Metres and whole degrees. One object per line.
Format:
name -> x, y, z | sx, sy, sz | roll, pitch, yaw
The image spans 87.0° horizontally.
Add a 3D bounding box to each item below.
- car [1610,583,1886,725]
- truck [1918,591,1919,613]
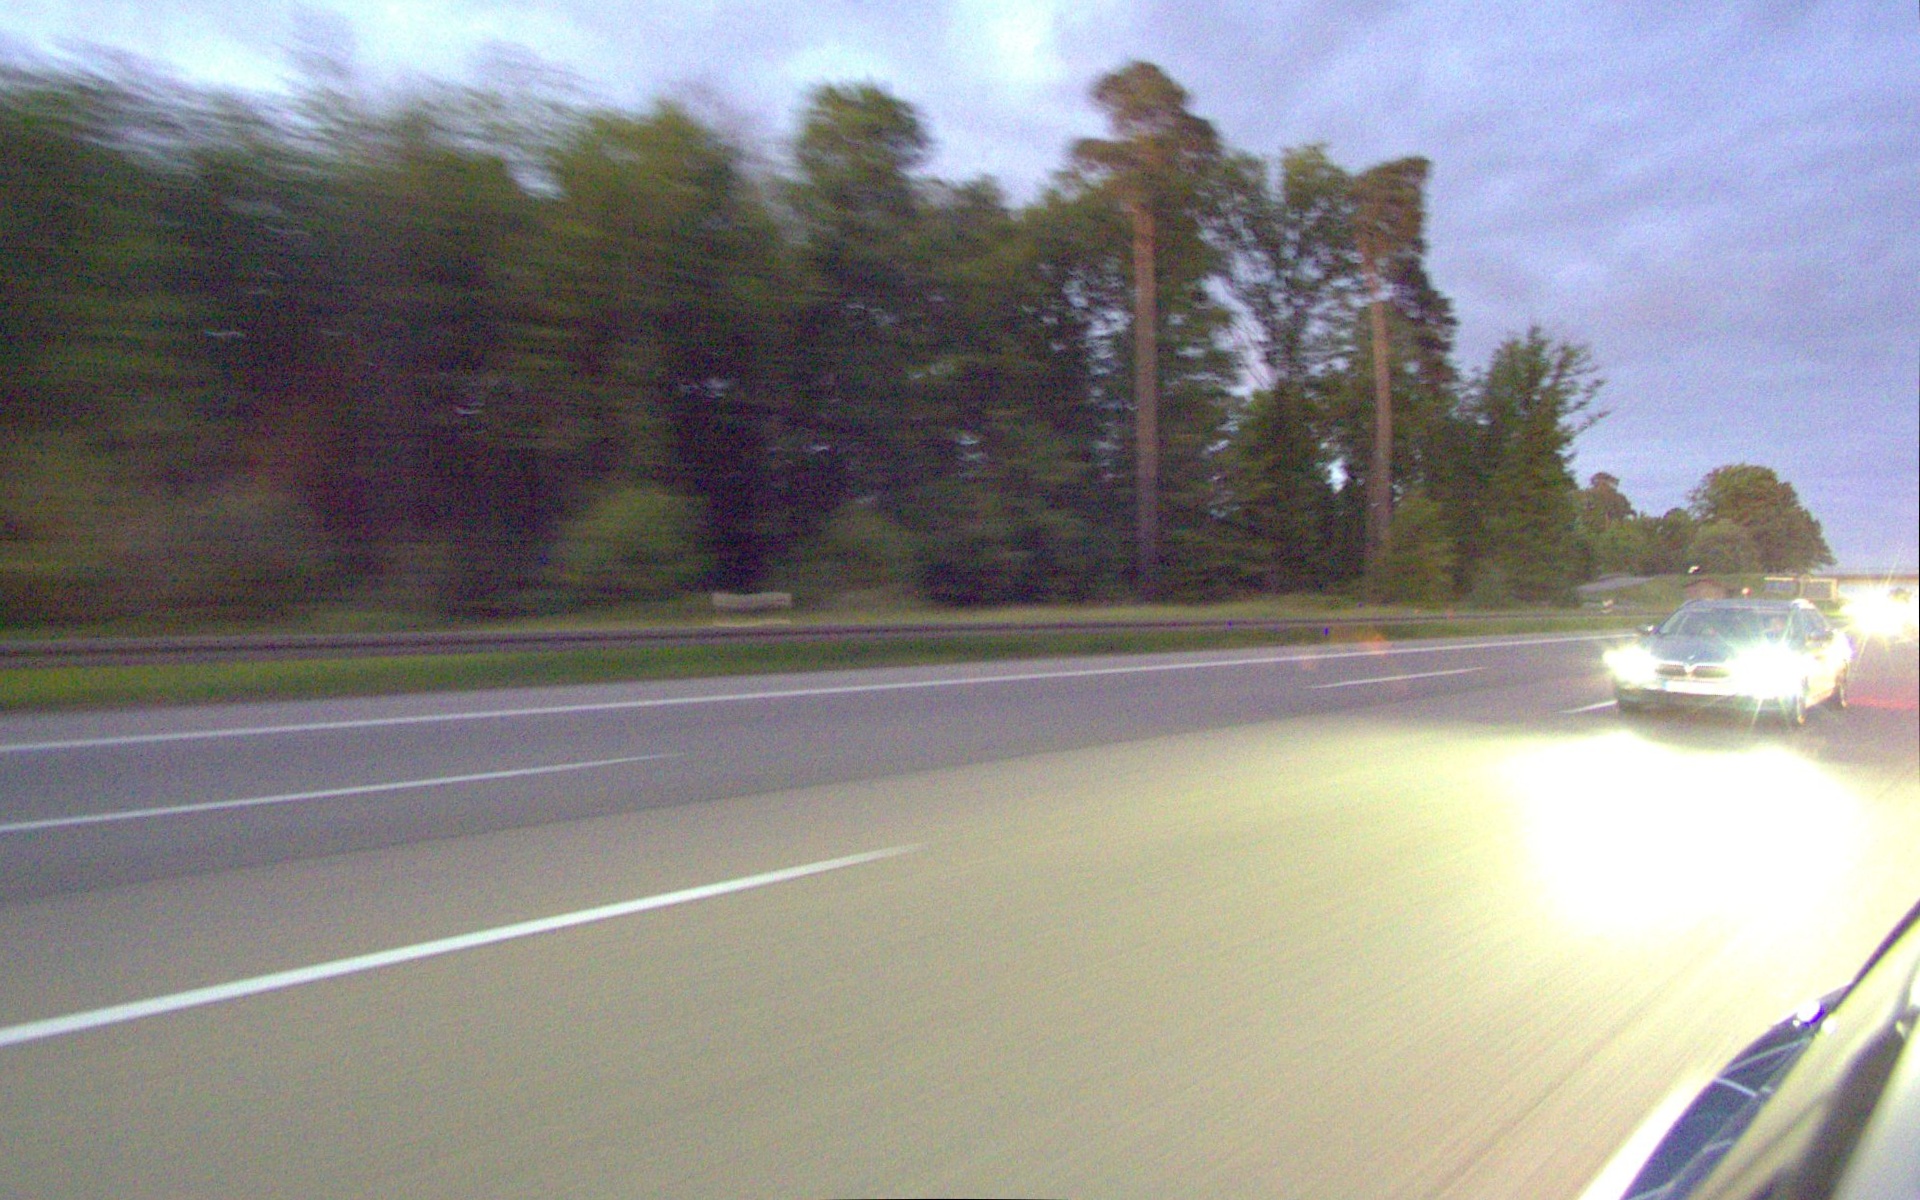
car -> 10.706, 0.585, 13.587 | 5.138, 1.556, 1.913 | 0, 1, -40
truck -> 178.784, 0.330, 185.960 | 3.132, 4.062, 10.395 | 1, 0, 39
